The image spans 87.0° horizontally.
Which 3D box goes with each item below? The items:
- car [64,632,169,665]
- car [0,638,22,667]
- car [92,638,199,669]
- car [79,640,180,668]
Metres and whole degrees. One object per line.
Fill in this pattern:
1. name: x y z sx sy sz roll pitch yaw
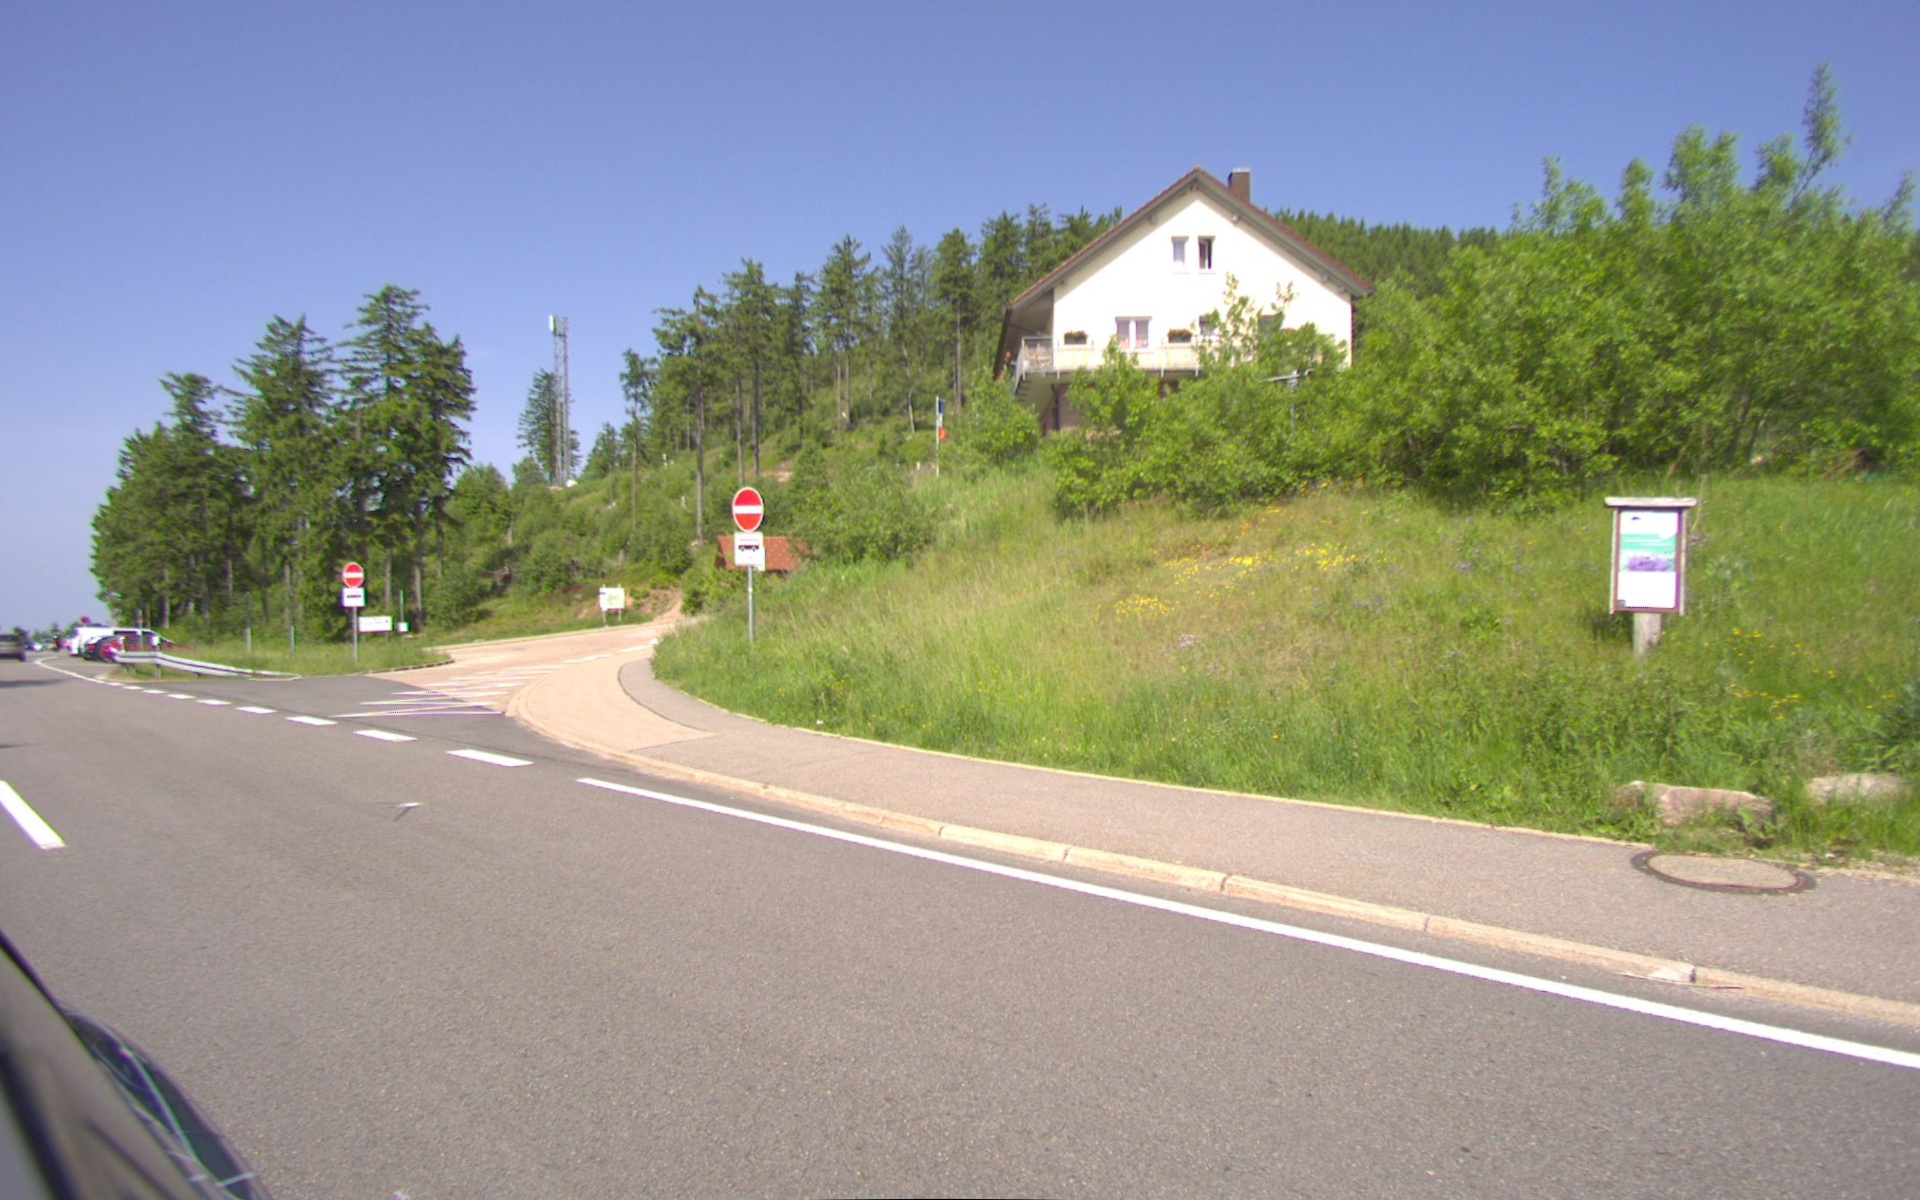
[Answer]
1. car: -51.860 2.963 62.277 1.931 1.896 4.667 -2 -3 41
2. car: -55.006 2.997 57.853 1.970 1.608 4.003 1 -2 -44
3. car: -42.071 2.755 52.321 4.101 1.522 1.933 2 -3 -44
4. car: -44.191 2.855 53.924 1.931 1.384 3.877 -2 -3 41
